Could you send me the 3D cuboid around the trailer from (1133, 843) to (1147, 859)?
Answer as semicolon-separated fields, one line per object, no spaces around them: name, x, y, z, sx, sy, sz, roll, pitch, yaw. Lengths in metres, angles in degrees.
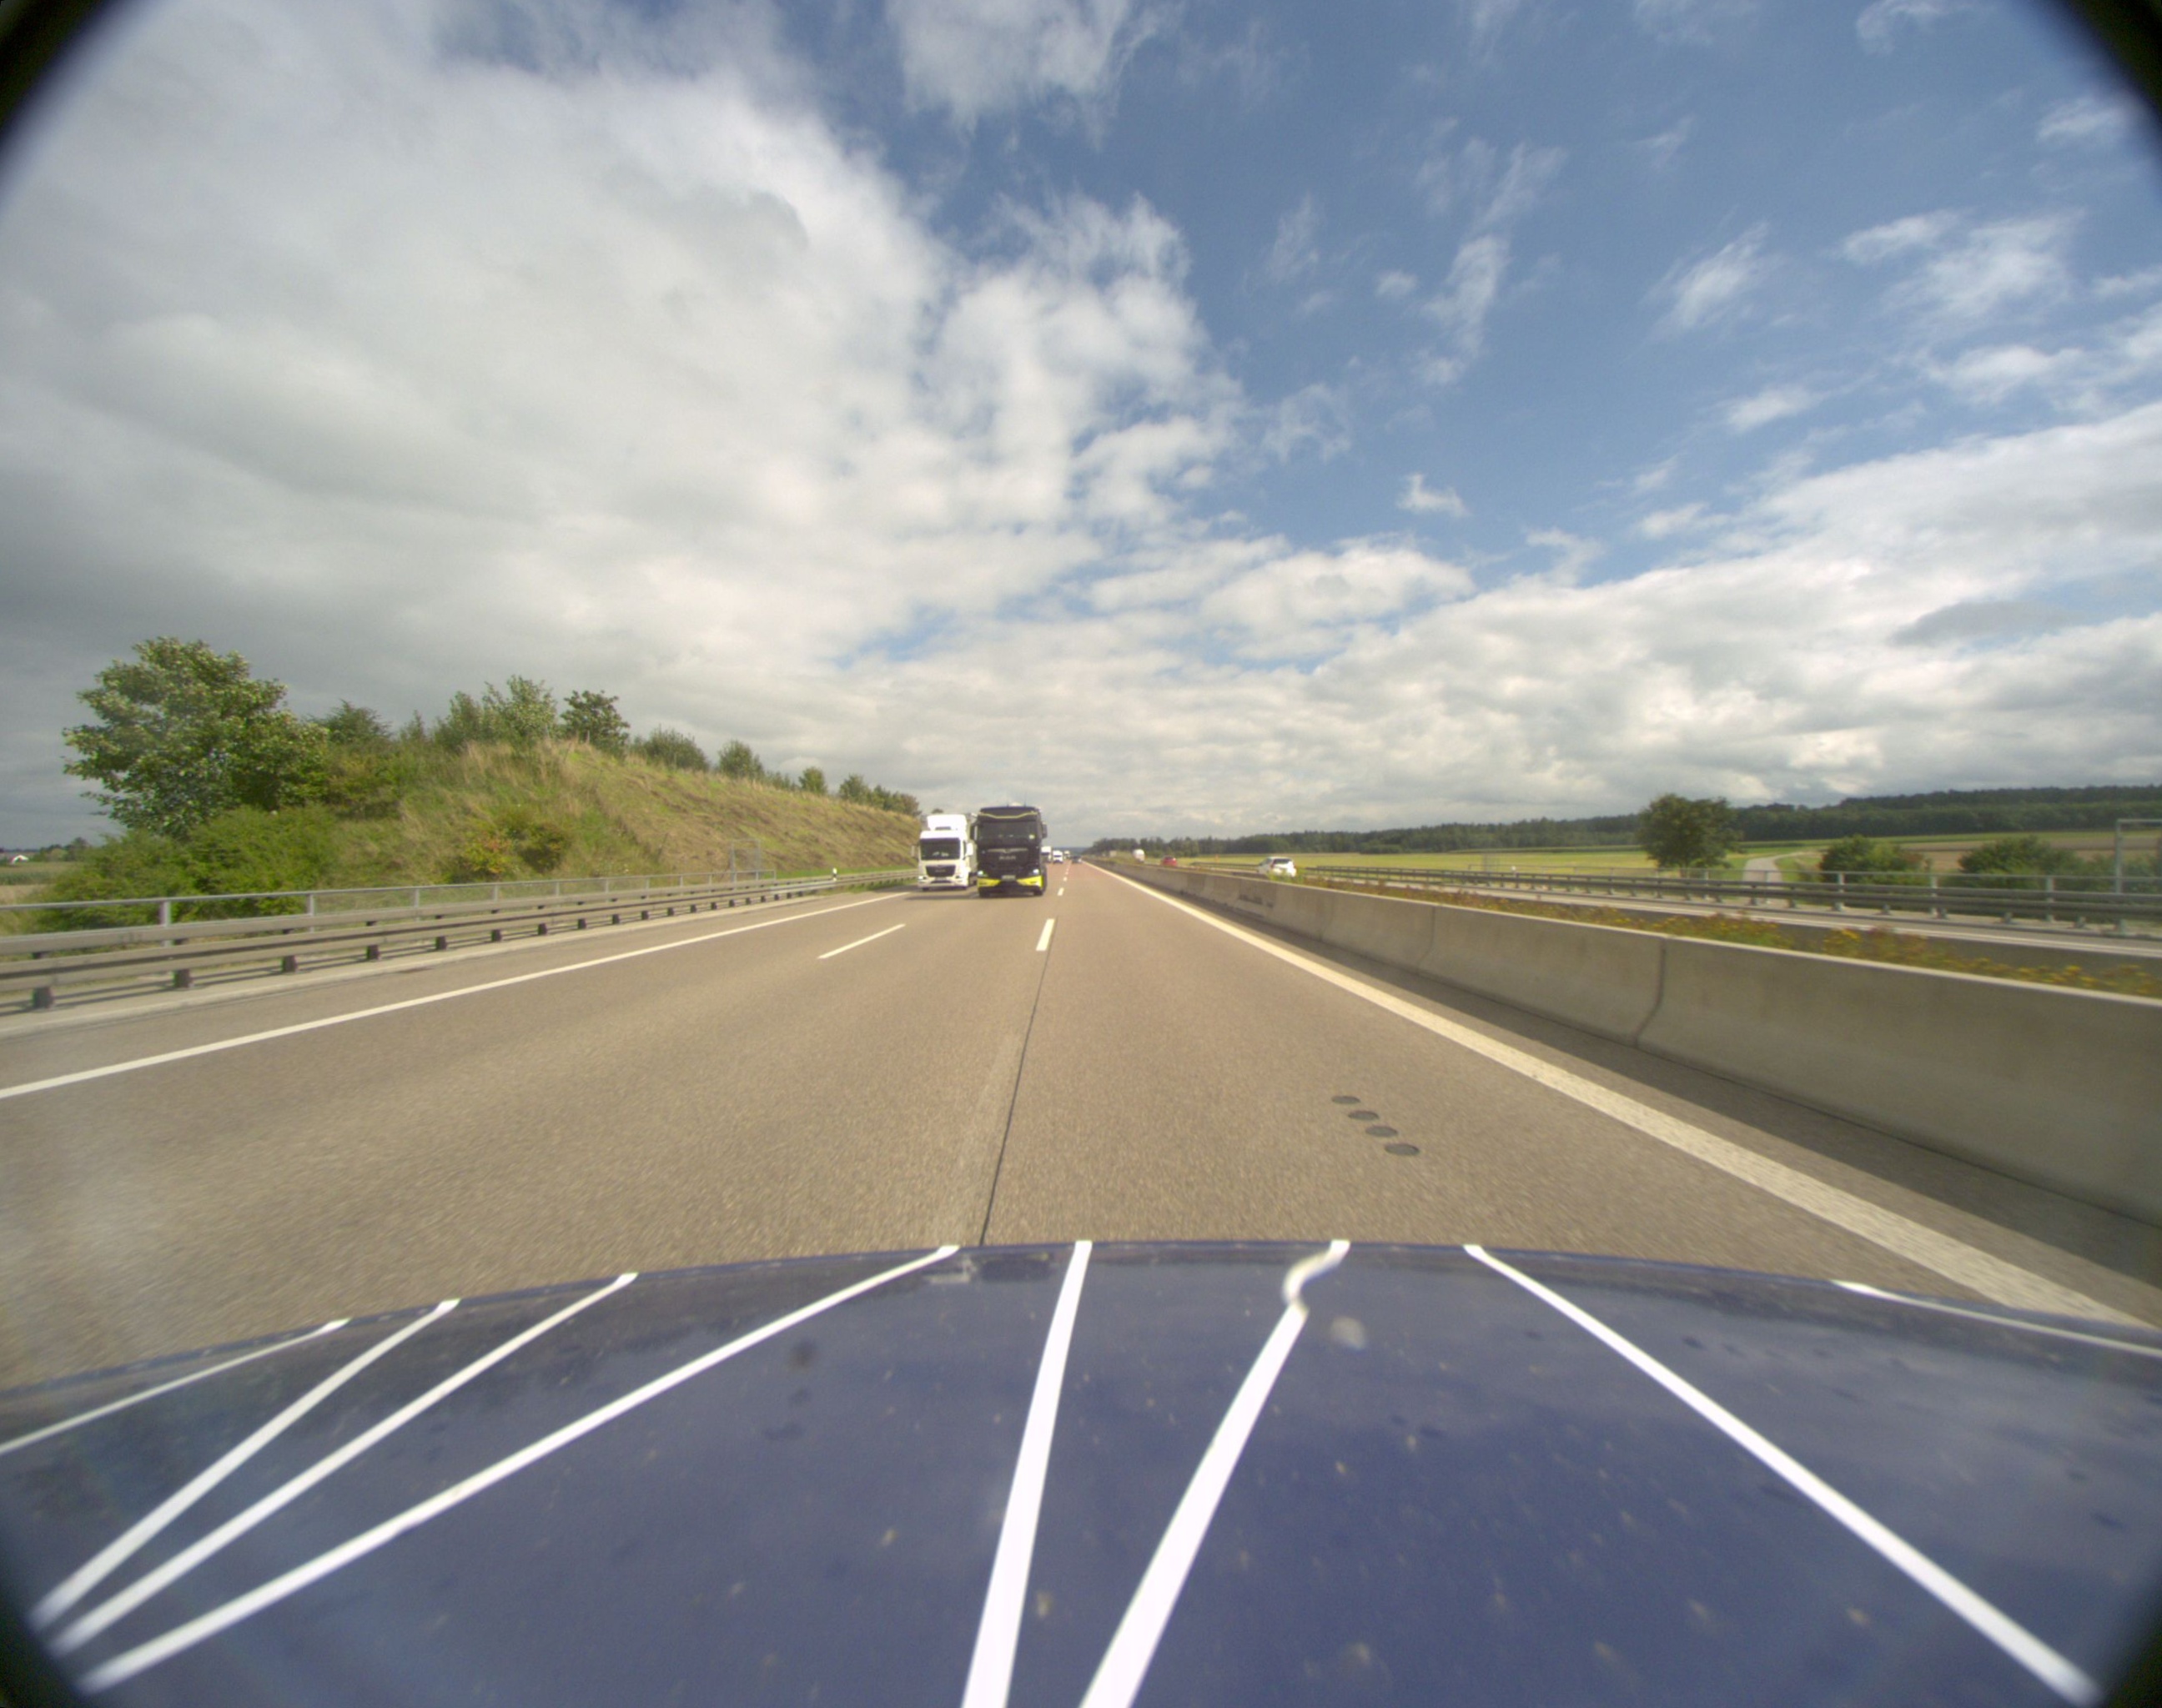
trailer;15.391;-0.794;198.778;2.899;4.074;11.036;1;0;0

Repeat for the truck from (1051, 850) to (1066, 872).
truck;-4.682;1.408;161.743;2.681;4.333;11.807;-3;0;-1

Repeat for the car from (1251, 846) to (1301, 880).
car;12.506;0.530;49.073;1.999;2.058;4.711;0;0;0

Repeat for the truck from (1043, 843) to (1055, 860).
truck;-8.050;-0.598;192.560;2.681;4.082;6.615;-2;0;-1

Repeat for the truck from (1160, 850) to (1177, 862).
truck;12.066;0.258;105.418;1.711;1.565;4.981;1;0;-1

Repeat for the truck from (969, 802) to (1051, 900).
truck;-2.775;-0.146;32.261;2.855;3.529;8.316;-2;1;-2

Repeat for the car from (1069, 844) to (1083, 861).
car;-0.984;-0.305;156.439;2.773;3.260;6.392;-3;0;0

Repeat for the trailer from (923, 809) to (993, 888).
trailer;-6.862;-0.345;43.526;2.755;3.989;8.667;-2;1;-2

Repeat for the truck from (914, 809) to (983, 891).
truck;-6.668;-0.229;38.960;2.756;3.869;4.544;-2;1;-2
